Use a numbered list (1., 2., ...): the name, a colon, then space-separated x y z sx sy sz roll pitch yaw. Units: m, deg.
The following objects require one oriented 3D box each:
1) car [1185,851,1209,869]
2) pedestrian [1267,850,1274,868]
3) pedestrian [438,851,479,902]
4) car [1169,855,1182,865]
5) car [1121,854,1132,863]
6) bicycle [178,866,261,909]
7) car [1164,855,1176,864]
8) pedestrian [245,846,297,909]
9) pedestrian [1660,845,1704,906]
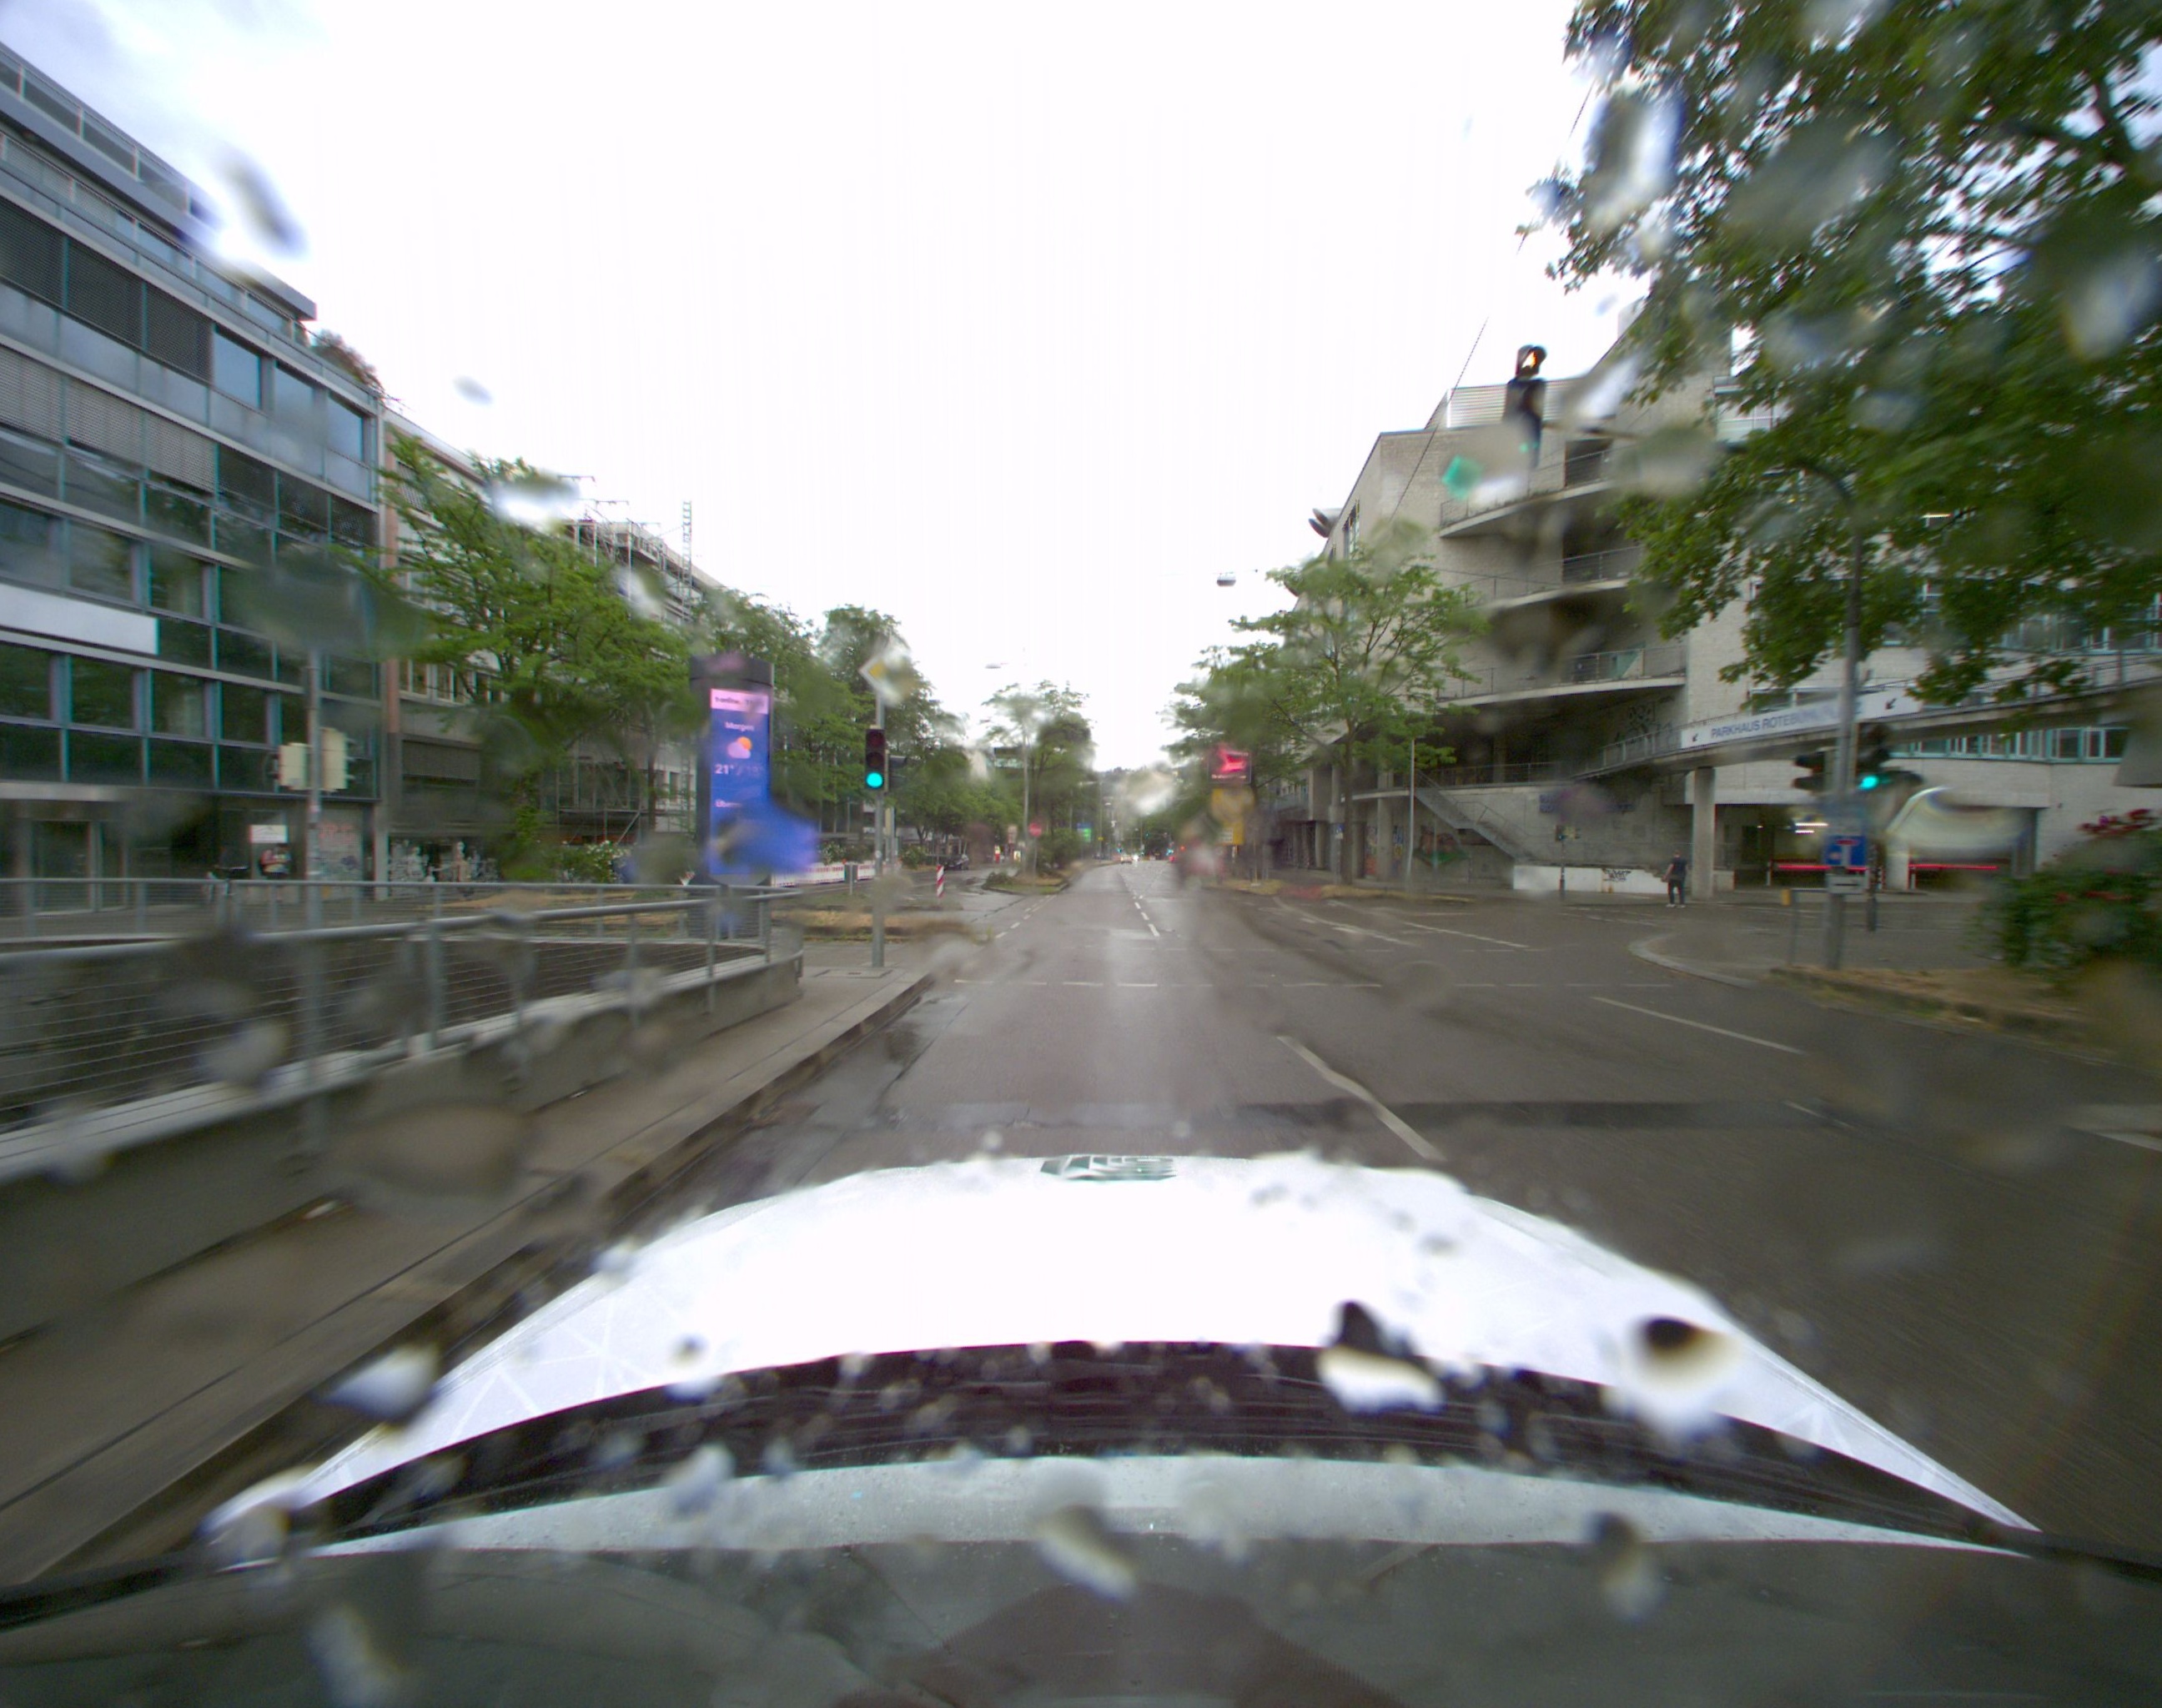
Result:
1. car: 11.562 0.589 81.056 2.324 1.691 4.010 0 0 9
2. pedestrian: 20.819 0.556 89.472 0.770 1.921 0.705 0 -2 12
3. pedestrian: -21.728 0.773 28.425 0.691 1.741 0.876 1 -1 -1
4. car: 17.742 1.103 153.255 1.986 1.724 4.000 0 -1 1
5. car: 8.116 0.828 145.266 1.821 1.640 4.303 1 -1 3
6. bicycle: -22.997 0.883 21.786 0.444 1.085 1.567 0 0 6
7. car: 17.983 1.173 164.340 1.986 1.736 4.001 0 -1 2
8. pedestrian: -22.849 0.669 22.988 0.694 1.741 0.694 1 -1 -4
9. pedestrian: 19.223 0.684 26.052 0.843 1.910 0.758 0 0 1
